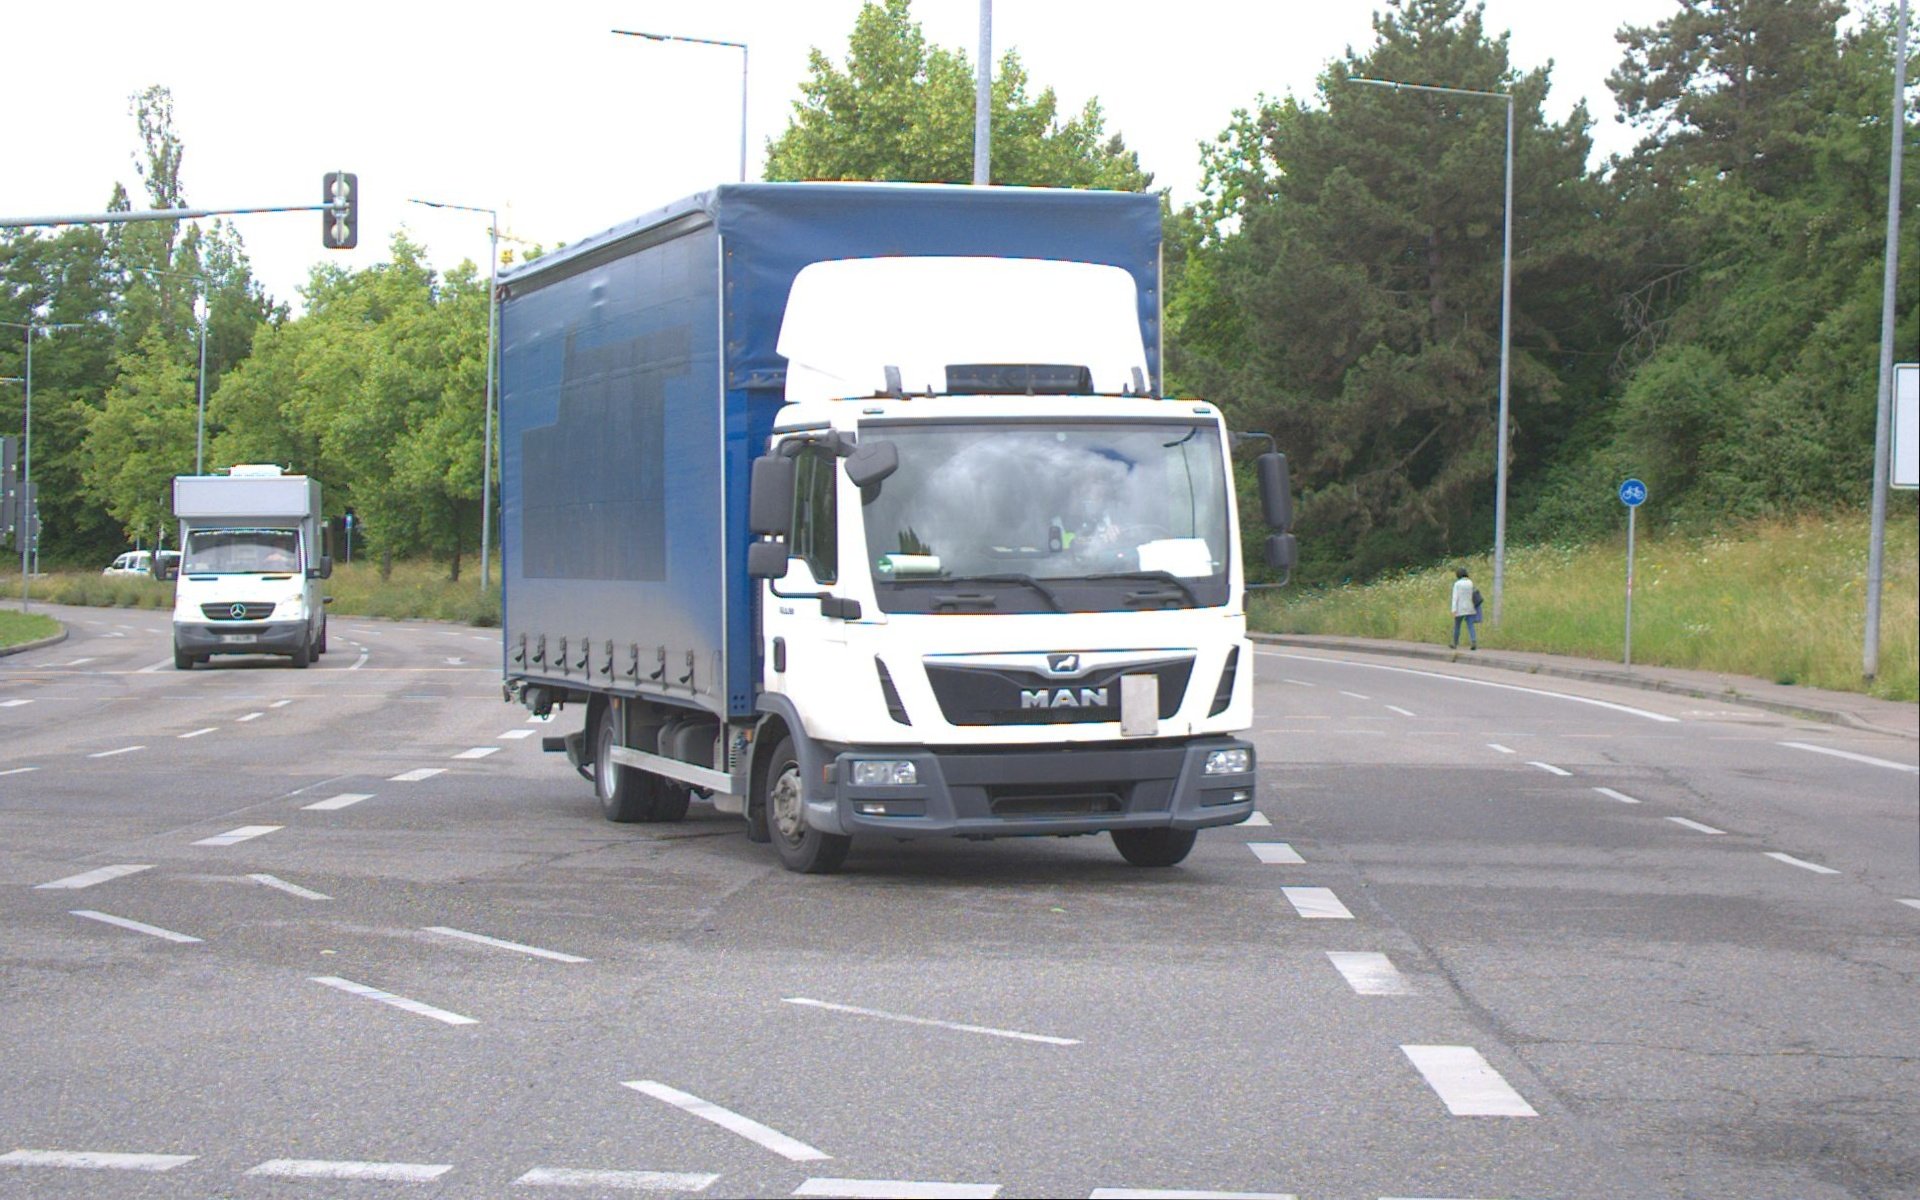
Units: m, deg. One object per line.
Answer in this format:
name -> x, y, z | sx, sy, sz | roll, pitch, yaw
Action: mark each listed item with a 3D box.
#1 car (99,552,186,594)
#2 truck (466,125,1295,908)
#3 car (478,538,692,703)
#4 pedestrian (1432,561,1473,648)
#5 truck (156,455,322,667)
car -> -34.651, -1.153, 145.742 | 1.994, 1.722, 3.725 | 0, 1, -43
truck -> -0.919, -0.450, 21.070 | 2.777, 3.791, 8.392 | 0, 1, -18
car -> -4.586, 0.210, 41.421 | 1.993, 1.870, 4.892 | 0, 0, -13
pedestrian -> 9.768, 0.082, 68.200 | 0.739, 1.711, 0.625 | 1, 1, 2
truck -> -11.075, -0.598, 53.207 | 2.104, 3.000, 6.275 | -3, 1, -9
